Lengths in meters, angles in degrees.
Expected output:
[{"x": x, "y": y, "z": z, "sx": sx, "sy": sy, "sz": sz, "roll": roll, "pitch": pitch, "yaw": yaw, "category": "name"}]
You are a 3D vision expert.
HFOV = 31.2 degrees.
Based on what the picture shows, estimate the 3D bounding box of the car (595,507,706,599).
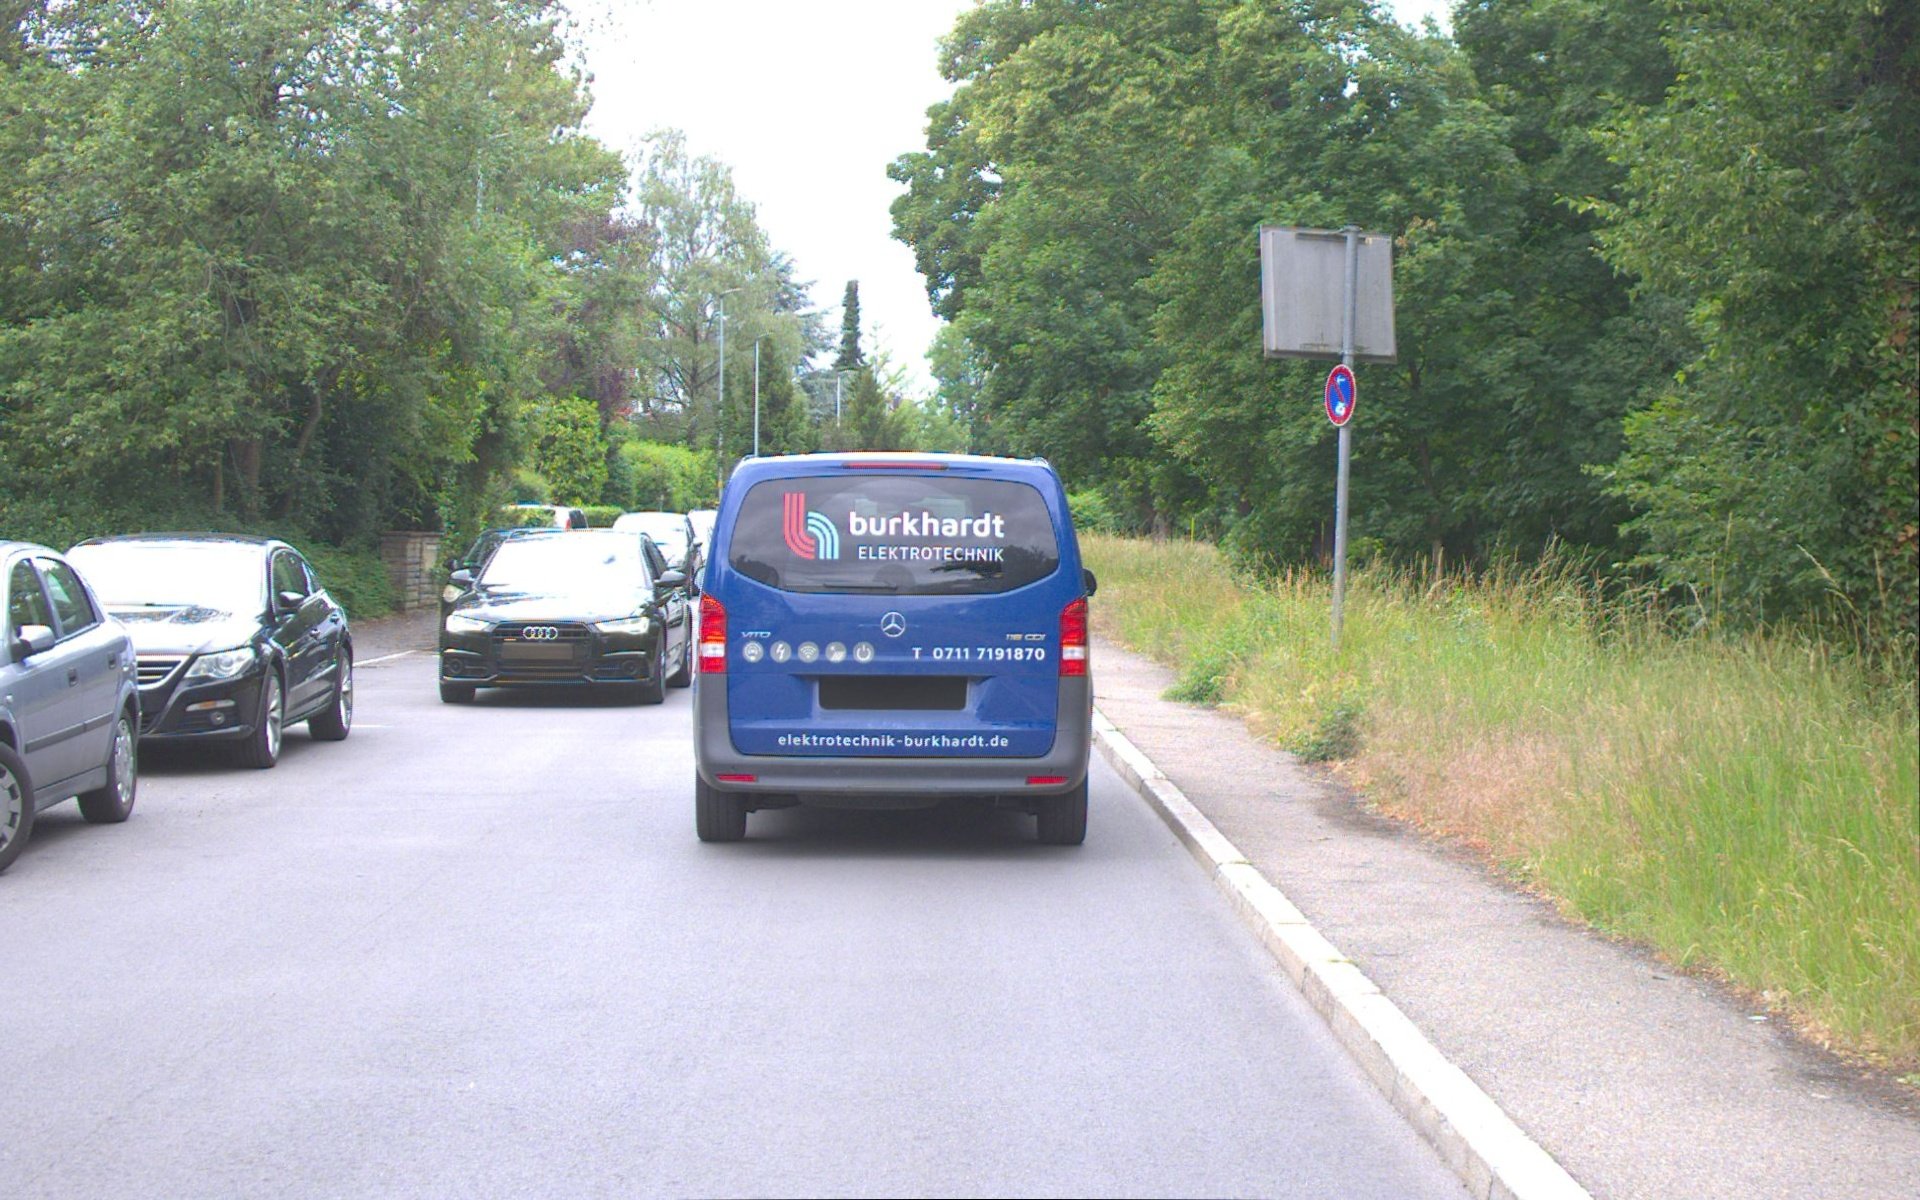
[{"x": -5.847, "y": -0.918, "z": 65.292, "sx": 1.731, "sy": 1.626, "sz": 4.569, "roll": 2, "pitch": 1, "yaw": -1, "category": "car"}]

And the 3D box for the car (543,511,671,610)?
[{"x": -5.561, "y": -0.614, "z": 54.510, "sx": 1.623, "sy": 1.445, "sz": 4.093, "roll": -2, "pitch": 0, "yaw": -1, "category": "car"}]

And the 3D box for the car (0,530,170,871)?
[{"x": -4.910, "y": 0.406, "z": 15.869, "sx": 1.624, "sy": 1.427, "sz": 4.352, "roll": -1, "pitch": 1, "yaw": -2, "category": "car"}]

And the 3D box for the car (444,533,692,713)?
[{"x": -3.350, "y": 0.144, "z": 30.122, "sx": 1.780, "sy": 1.421, "sz": 4.490, "roll": 1, "pitch": 1, "yaw": -2, "category": "car"}]

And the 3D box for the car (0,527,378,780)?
[{"x": -5.037, "y": 0.256, "z": 22.357, "sx": 1.778, "sy": 1.427, "sz": 5.106, "roll": 1, "pitch": 1, "yaw": -2, "category": "car"}]

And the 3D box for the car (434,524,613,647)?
[{"x": -5.355, "y": -0.213, "z": 42.573, "sx": 1.623, "sy": 1.445, "sz": 3.969, "roll": 0, "pitch": 1, "yaw": 1, "category": "car"}]

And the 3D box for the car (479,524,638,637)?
[{"x": -5.474, "y": -0.306, "z": 47.293, "sx": 1.659, "sy": 1.447, "sz": 4.382, "roll": 0, "pitch": 2, "yaw": 0, "category": "car"}]

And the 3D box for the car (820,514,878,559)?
[{"x": -4.282, "y": -2.463, "z": 132.705, "sx": 1.836, "sy": 1.625, "sz": 4.300, "roll": 2, "pitch": 1, "yaw": 3, "category": "car"}]

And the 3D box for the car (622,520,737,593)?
[{"x": -5.727, "y": -0.915, "z": 70.744, "sx": 1.754, "sy": 1.408, "sz": 4.898, "roll": 2, "pitch": 1, "yaw": 2, "category": "car"}]

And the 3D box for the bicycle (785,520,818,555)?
[{"x": -5.991, "y": -2.357, "z": 129.848, "sx": 0.906, "sy": 1.247, "sz": 2.916, "roll": 3, "pitch": 1, "yaw": 3, "category": "bicycle"}]

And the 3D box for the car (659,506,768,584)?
[{"x": -5.799, "y": -1.330, "z": 81.463, "sx": 1.974, "sy": 1.731, "sz": 5.189, "roll": 2, "pitch": 1, "yaw": 2, "category": "car"}]

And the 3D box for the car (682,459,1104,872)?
[{"x": -0.404, "y": 0.212, "z": 17.415, "sx": 1.888, "sy": 1.837, "sz": 4.001, "roll": 0, "pitch": 2, "yaw": -3, "category": "car"}]

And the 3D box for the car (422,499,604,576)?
[{"x": -10.211, "y": -1.439, "z": 78.589, "sx": 3.694, "sy": 1.632, "sz": 1.827, "roll": 2, "pitch": 1, "yaw": 13, "category": "car"}]
